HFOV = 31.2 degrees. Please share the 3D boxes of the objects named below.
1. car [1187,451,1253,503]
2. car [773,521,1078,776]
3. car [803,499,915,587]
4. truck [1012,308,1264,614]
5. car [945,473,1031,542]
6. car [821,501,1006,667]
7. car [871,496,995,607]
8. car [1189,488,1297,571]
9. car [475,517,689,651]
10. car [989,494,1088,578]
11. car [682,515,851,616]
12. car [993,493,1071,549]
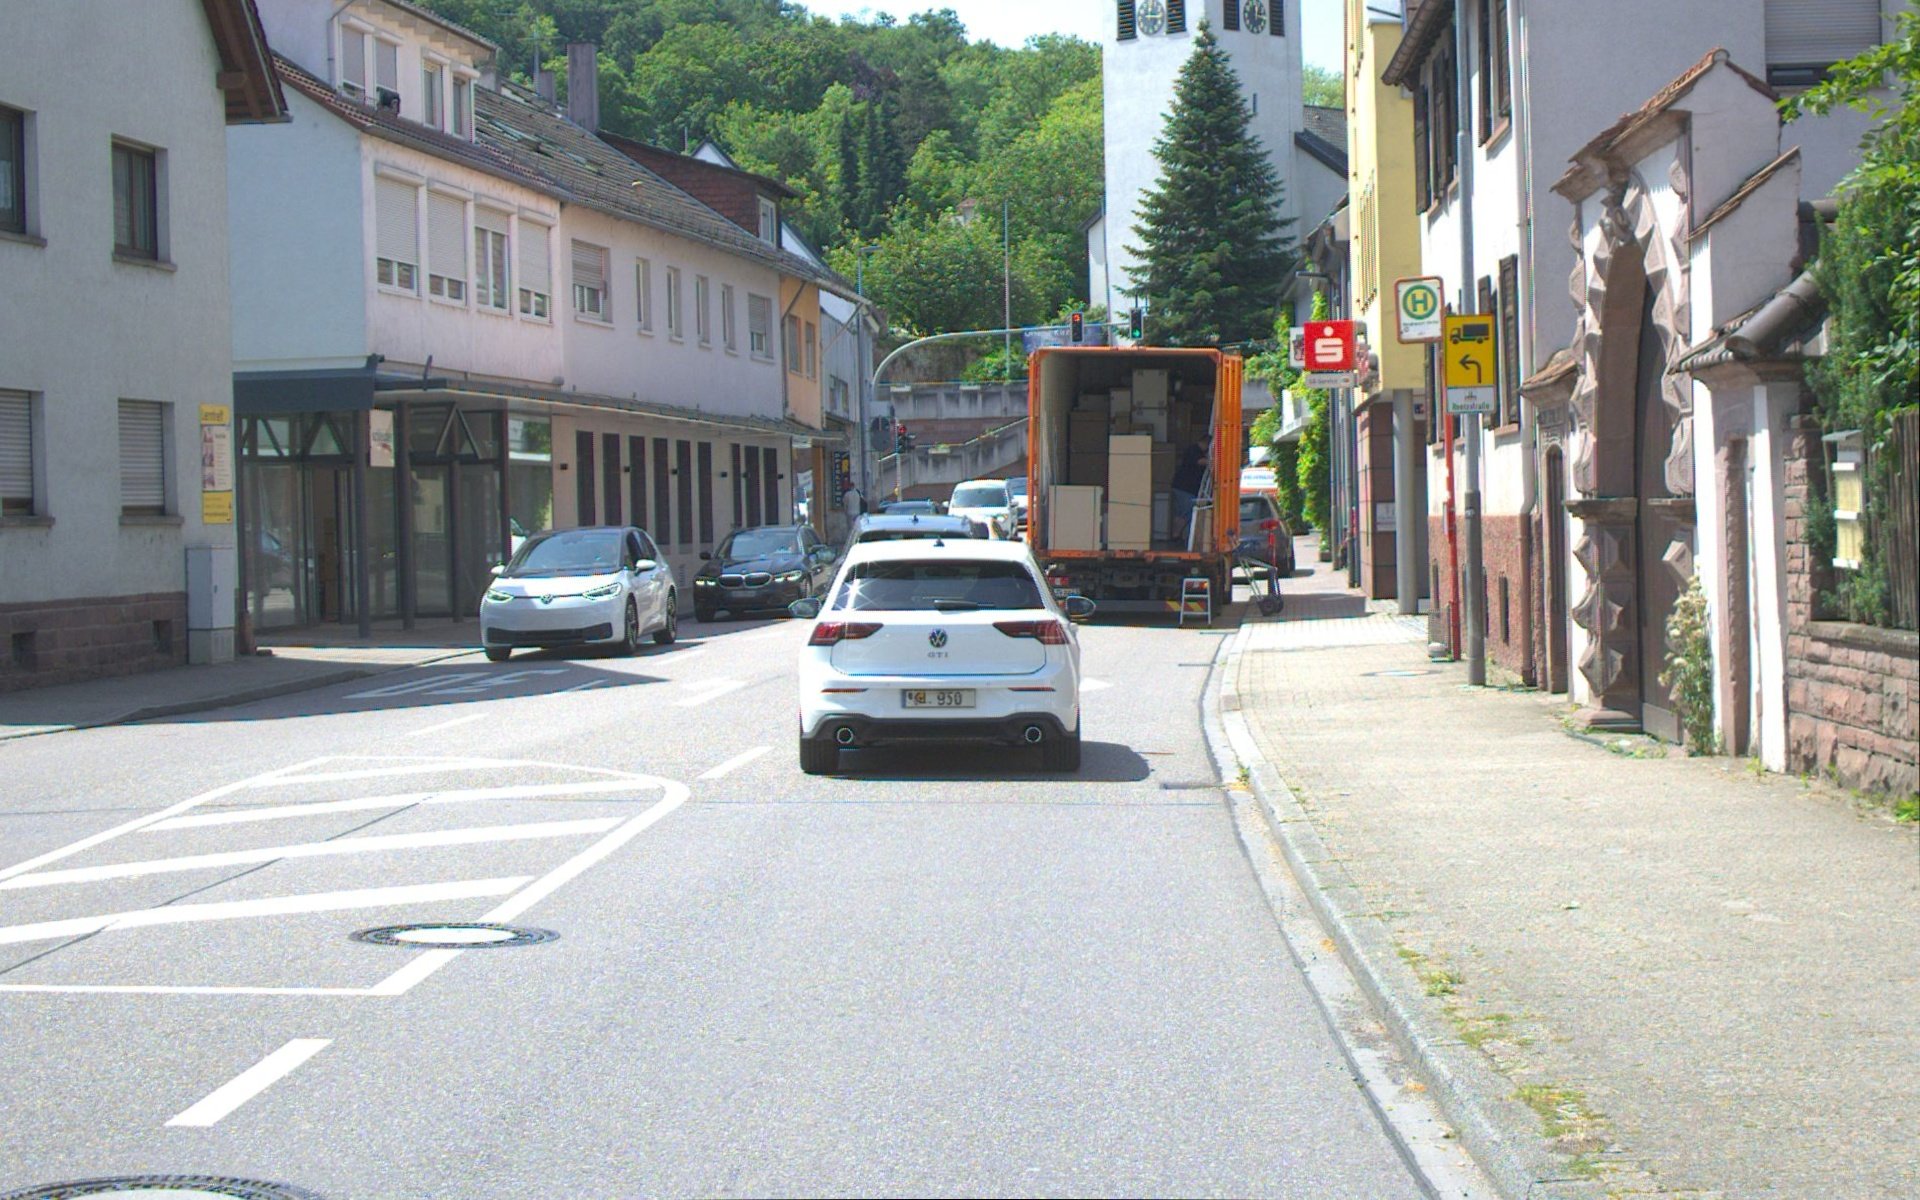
[{"bbox_3d":[8.349,-3.928,110.478,1.815,1.514,4.000,-2,1,1],"label":"car"},{"bbox_3d":[-0.178,0.263,22.467,1.815,1.514,4.000,0,1,1],"label":"car"},{"bbox_3d":[-2.138,-1.244,73.806,1.692,1.693,4.111,-2,2,8],"label":"car"},{"bbox_3d":[2.746,-2.008,52.981,3.367,4.155,9.518,-2,1,3],"label":"truck"},{"bbox_3d":[0.797,-2.562,94.680,1.802,1.773,4.704,-2,2,6],"label":"car"},{"bbox_3d":[-0.447,-0.186,37.050,1.815,1.623,4.000,-2,1,1],"label":"car"},{"bbox_3d":[-0.394,-0.766,54.495,1.815,1.623,4.000,-2,1,1],"label":"car"},{"bbox_3d":[5.573,-1.384,68.054,1.815,1.514,4.000,-2,1,1],"label":"car"},{"bbox_3d":[-4.609,-0.220,42.471,1.796,1.503,4.133,-2,1,5],"label":"car"},{"bbox_3d":[1.517,-1.234,67.101,1.815,1.514,4.000,-2,1,1],"label":"car"},{"bbox_3d":[-3.062,-0.577,55.275,1.794,1.487,4.420,-2,1,9],"label":"car"},{"bbox_3d":[2.268,-2.471,107.752,1.994,1.645,3.999,-2,1,7],"label":"car"}]
